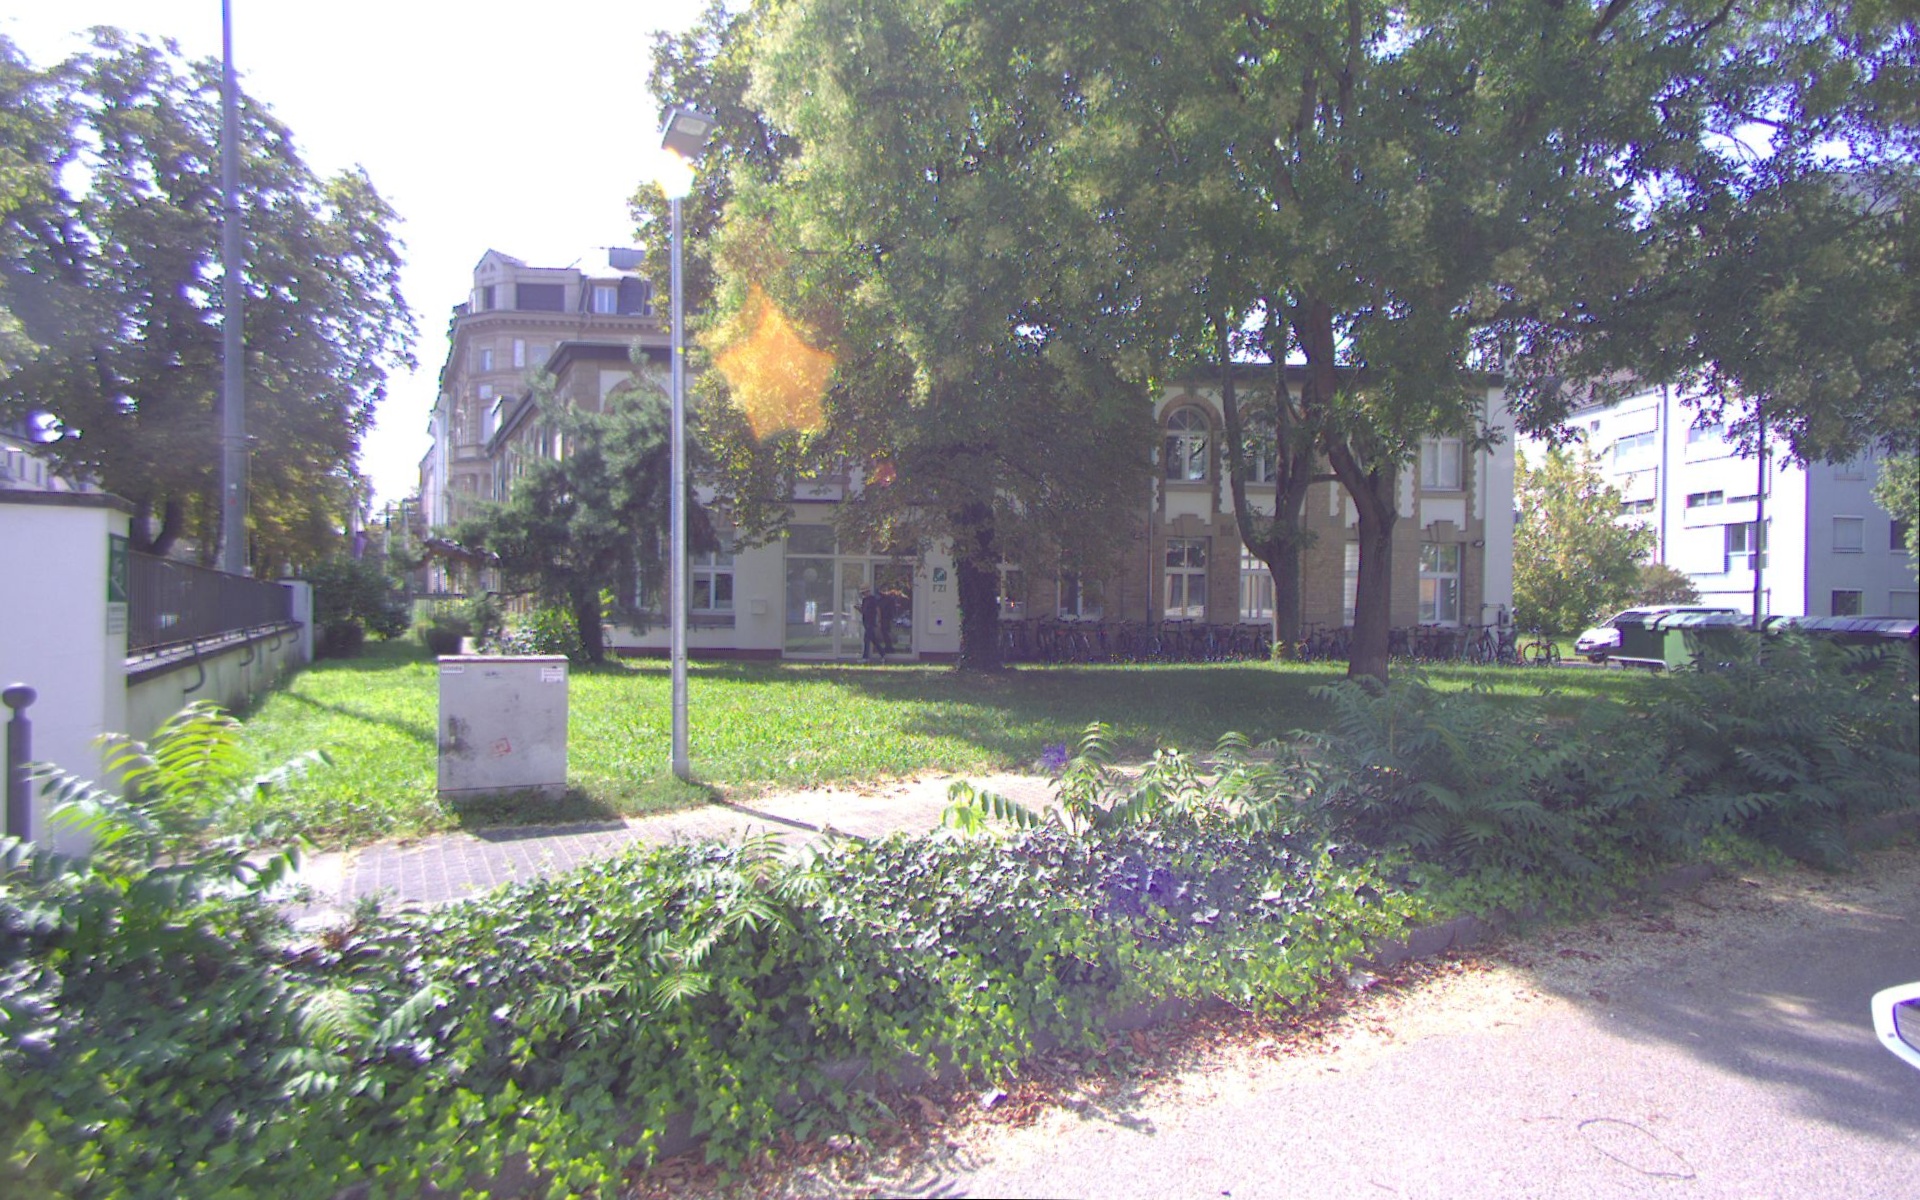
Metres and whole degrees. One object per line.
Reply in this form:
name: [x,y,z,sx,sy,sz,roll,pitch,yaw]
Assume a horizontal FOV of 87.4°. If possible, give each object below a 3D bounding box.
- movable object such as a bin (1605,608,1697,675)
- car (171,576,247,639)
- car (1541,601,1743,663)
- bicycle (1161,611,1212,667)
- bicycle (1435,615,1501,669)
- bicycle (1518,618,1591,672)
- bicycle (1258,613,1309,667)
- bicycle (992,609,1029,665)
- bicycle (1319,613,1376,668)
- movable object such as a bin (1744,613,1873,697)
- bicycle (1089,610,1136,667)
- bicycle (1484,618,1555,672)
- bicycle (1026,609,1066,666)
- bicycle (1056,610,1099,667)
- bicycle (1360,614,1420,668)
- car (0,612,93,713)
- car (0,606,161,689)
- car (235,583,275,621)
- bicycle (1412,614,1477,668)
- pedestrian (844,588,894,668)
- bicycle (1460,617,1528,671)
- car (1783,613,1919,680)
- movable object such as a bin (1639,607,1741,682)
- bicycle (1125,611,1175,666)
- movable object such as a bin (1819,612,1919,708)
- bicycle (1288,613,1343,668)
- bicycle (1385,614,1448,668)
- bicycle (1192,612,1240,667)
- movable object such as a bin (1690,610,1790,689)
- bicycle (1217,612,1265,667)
movable object such as a bin: [15.845,0.943,23.062,1.227,1.464,1.204,1,1,-9]
car: [-30.547,0.314,40.966,1.977,2.397,3.968,2,-1,-30]
car: [22.418,1.034,33.177,4.985,1.906,2.502,1,0,-1]
bicycle: [5.711,0.962,25.426,0.756,1.320,2.273,1,-1,0]
bicycle: [13.033,1.041,25.835,0.597,1.320,2.174,1,-1,0]
bicycle: [15.351,1.136,26.023,0.597,1.320,2.174,1,-1,0]
bicycle: [8.252,0.989,25.732,0.597,1.320,2.174,1,-1,0]
bicycle: [1.227,0.889,24.842,0.756,1.320,2.526,1,-1,0]
bicycle: [9.862,1.003,25.638,0.597,1.320,2.174,1,-1,0]
movable object such as a bin: [15.743,0.998,18.681,1.227,1.451,1.329,1,1,-10]
bicycle: [3.771,0.930,25.043,0.756,1.320,2.526,1,-1,0]
bicycle: [14.378,1.118,25.885,0.597,1.320,2.174,1,-1,0]
bicycle: [2.100,0.903,24.722,0.756,1.320,2.526,1,-1,0]
bicycle: [2.886,0.919,24.898,0.756,1.320,2.526,1,-1,0]
bicycle: [10.947,1.012,25.631,0.597,1.320,2.174,1,-1,0]
car: [-16.124,0.984,16.911,1.627,1.531,3.611,1,-1,-30]
car: [-19.035,0.955,21.932,1.778,1.598,3.970,1,0,-29]
car: [-44.493,0.126,63.423,1.980,2.263,3.960,1,0,-35]
bicycle: [12.363,1.028,25.712,0.597,1.320,2.174,1,-1,0]
pedestrian: [-2.144,0.646,23.598,1.109,1.853,0.735,0,0,-8]
bicycle: [13.707,1.101,25.867,0.597,1.320,2.174,1,-1,0]
car: [23.030,1.143,24.877,3.834,1.548,1.708,1,0,3]
movable object such as a bin: [15.460,0.934,21.311,1.227,1.516,1.205,1,1,-9]
bicycle: [4.766,0.948,25.376,0.756,1.320,2.526,1,-1,0]
movable object such as a bin: [15.853,0.986,17.090,1.314,1.513,1.367,1,1,-18]
bicycle: [9.010,1.003,25.544,0.597,1.320,2.174,1,-1,0]
bicycle: [11.691,1.018,25.799,0.597,1.320,2.174,1,-1,0]
bicycle: [6.474,0.971,25.520,0.615,1.320,2.273,1,-1,0]
movable object such as a bin: [15.422,0.961,19.883,1.081,1.501,1.099,1,1,-9]
bicycle: [7.121,0.986,25.574,0.597,1.320,2.174,1,-1,0]
